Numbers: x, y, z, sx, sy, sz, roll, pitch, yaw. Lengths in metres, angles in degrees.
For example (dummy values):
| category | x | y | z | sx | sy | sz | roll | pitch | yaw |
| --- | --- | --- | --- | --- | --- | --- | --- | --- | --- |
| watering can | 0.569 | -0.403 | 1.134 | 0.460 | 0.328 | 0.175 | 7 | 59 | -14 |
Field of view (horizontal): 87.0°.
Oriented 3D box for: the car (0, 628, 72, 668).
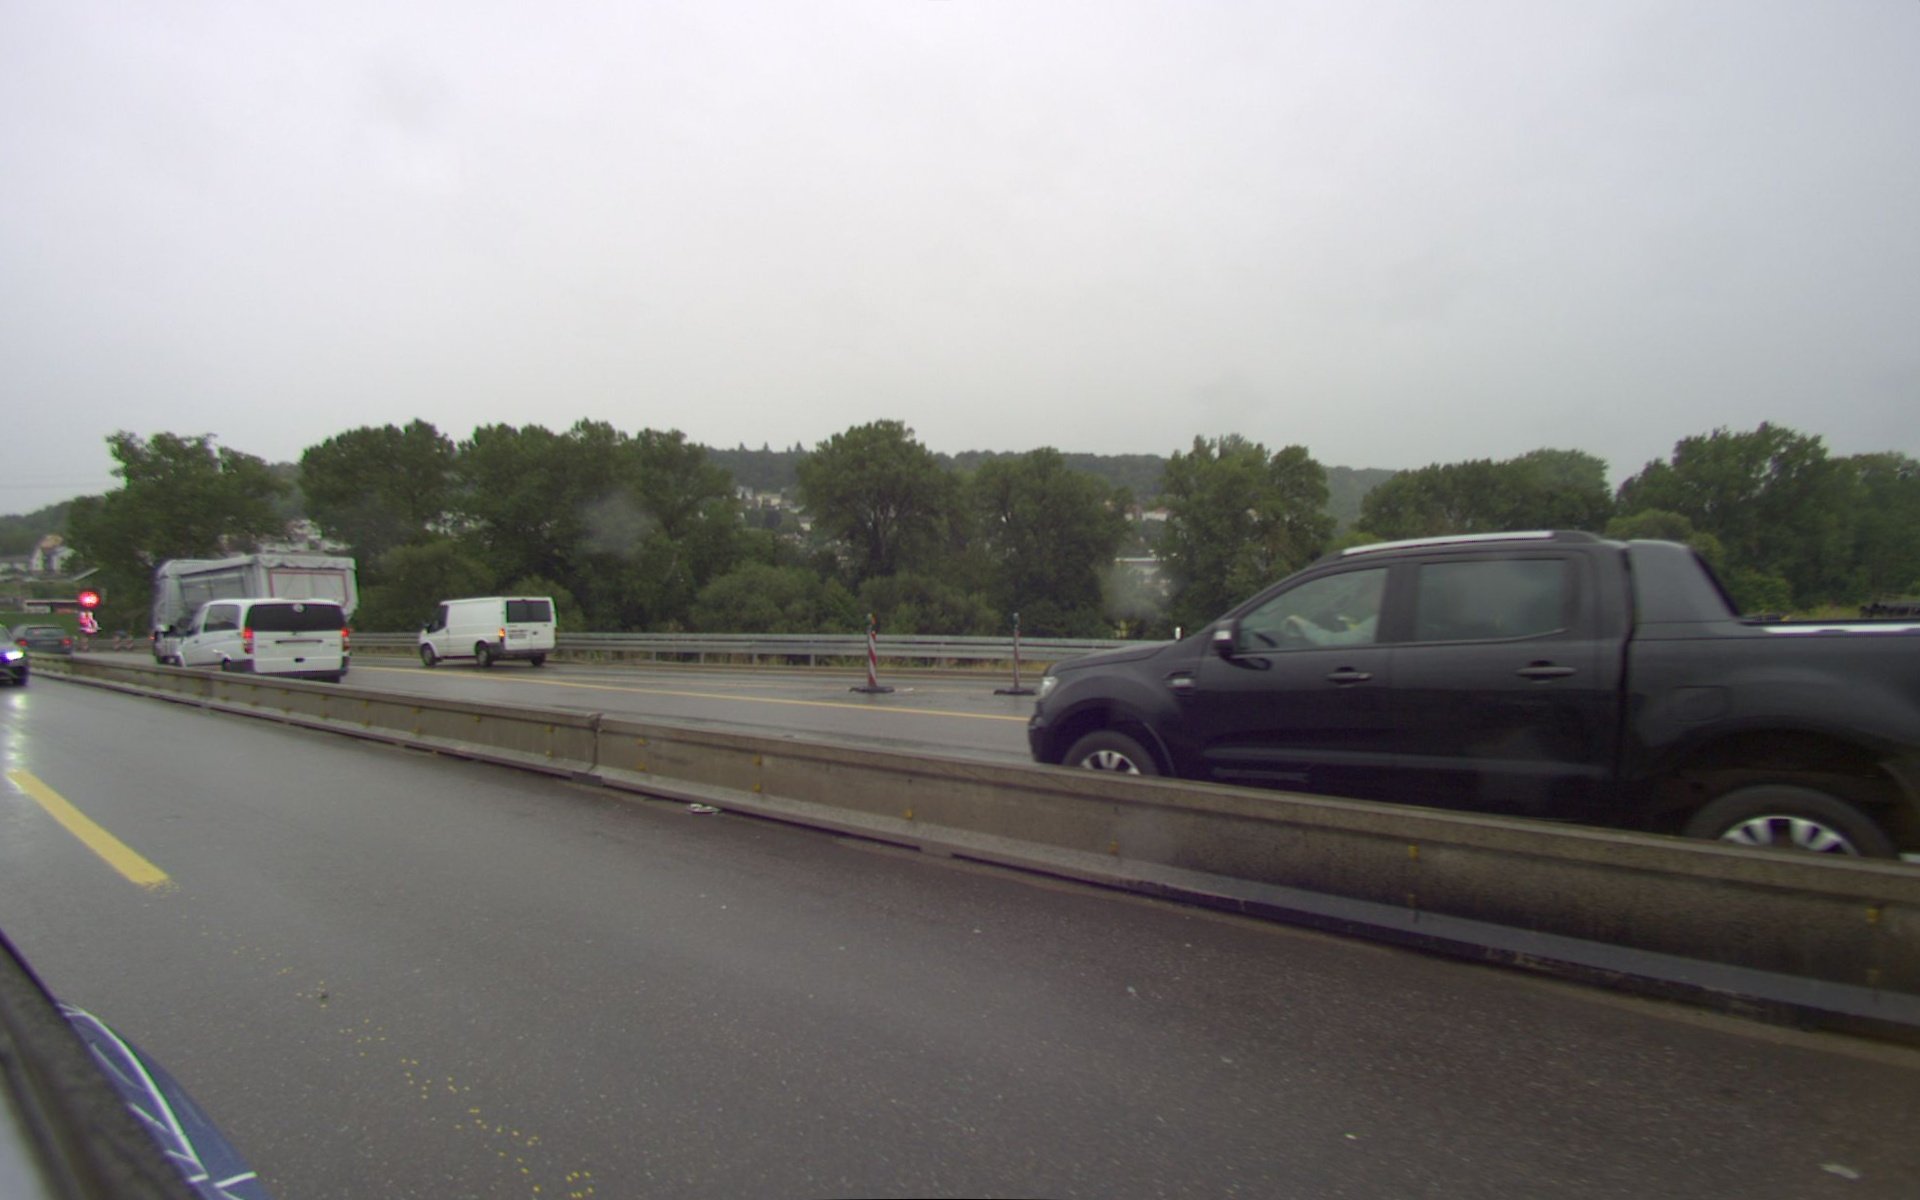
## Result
| category | x | y | z | sx | sy | sz | roll | pitch | yaw |
| --- | --- | --- | --- | --- | --- | --- | --- | --- | --- |
| car | -36.286 | 1.855 | 39.649 | 3.997 | 1.464 | 1.692 | -2 | -1 | 40 |

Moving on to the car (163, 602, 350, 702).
| category | x | y | z | sx | sy | sz | roll | pitch | yaw |
| --- | --- | --- | --- | --- | --- | --- | --- | --- | --- |
| car | -14.568 | 1.003 | 20.819 | 5.355 | 1.806 | 1.855 | -1 | -2 | 40 |

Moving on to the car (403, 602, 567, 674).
| category | x | y | z | sx | sy | sz | roll | pitch | yaw |
| --- | --- | --- | --- | --- | --- | --- | --- | --- | --- |
| car | -14.493 | 1.135 | 30.791 | 5.032 | 2.029 | 2.246 | -2 | -1 | 34 |

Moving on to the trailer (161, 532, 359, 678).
| category | x | y | z | sx | sy | sz | roll | pitch | yaw |
| --- | --- | --- | --- | --- | --- | --- | --- | --- | --- |
| trailer | -22.292 | 0.268 | 31.920 | 9.812 | 3.994 | 2.658 | -2 | -3 | 40 |

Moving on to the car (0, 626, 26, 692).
| category | x | y | z | sx | sy | sz | roll | pitch | yaw |
| --- | --- | --- | --- | --- | --- | --- | --- | --- | --- |
| car | -23.146 | 1.350 | 23.318 | 4.481 | 1.449 | 1.926 | -2 | -1 | 41 |

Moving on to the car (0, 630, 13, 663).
| category | x | y | z | sx | sy | sz | roll | pitch | yaw |
| --- | --- | --- | --- | --- | --- | --- | --- | --- | --- |
| car | -51.310 | 2.433 | 53.027 | 4.467 | 1.668 | 1.973 | -2 | -3 | 41 |

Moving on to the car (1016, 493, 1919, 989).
| category | x | y | z | sx | sy | sz | roll | pitch | yaw |
| --- | --- | --- | --- | --- | --- | --- | --- | --- | --- |
| car | 2.892 | 0.567 | 5.435 | 5.186 | 1.819 | 1.769 | -2 | -2 | 40 |

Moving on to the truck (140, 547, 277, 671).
| category | x | y | z | sx | sy | sz | roll | pitch | yaw |
| --- | --- | --- | --- | --- | --- | --- | --- | --- | --- |
| truck | -26.187 | 0.371 | 35.217 | 5.270 | 3.957 | 2.658 | -2 | -3 | 40 |
